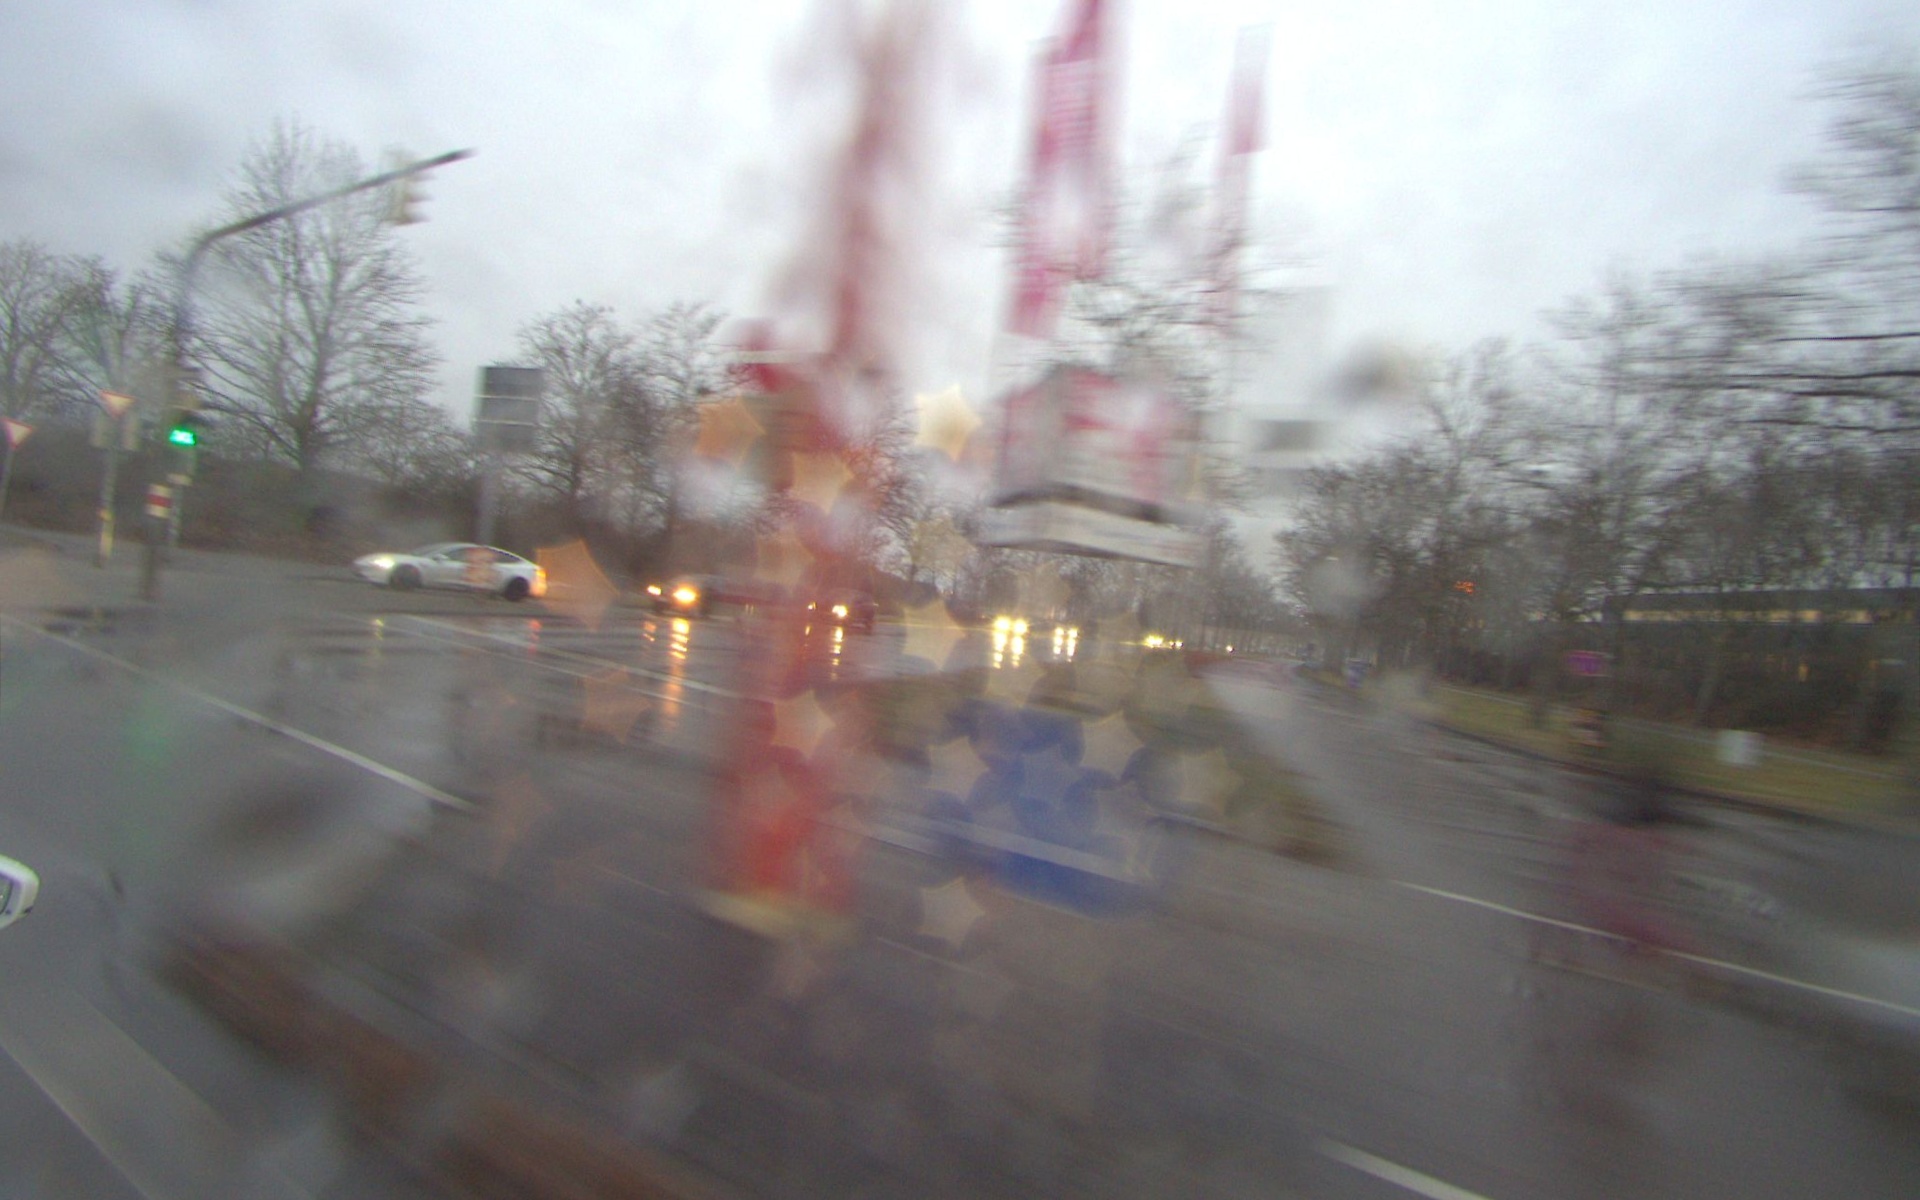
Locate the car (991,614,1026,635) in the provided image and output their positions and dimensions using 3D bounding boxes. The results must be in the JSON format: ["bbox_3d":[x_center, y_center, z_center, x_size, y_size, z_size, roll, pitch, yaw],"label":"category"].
[{"bbox_3d":[3.847,1.967,79.787,1.627,1.361,3.890,7,0,19],"label":"car"}]

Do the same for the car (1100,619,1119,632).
[{"bbox_3d":[19.226,3.258,129.117,1.627,1.361,3.890,7,0,19],"label":"car"}]

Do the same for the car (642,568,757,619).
[{"bbox_3d":[-8.712,-0.179,33.989,1.607,1.325,4.000,7,0,21],"label":"car"}]

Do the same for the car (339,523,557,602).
[{"bbox_3d":[-13.465,-0.943,26.705,1.857,1.392,4.733,7,-1,41],"label":"car"}]

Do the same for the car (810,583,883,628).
[{"bbox_3d":[-5.055,0.271,45.472,1.627,1.655,3.890,7,0,19],"label":"car"}]
